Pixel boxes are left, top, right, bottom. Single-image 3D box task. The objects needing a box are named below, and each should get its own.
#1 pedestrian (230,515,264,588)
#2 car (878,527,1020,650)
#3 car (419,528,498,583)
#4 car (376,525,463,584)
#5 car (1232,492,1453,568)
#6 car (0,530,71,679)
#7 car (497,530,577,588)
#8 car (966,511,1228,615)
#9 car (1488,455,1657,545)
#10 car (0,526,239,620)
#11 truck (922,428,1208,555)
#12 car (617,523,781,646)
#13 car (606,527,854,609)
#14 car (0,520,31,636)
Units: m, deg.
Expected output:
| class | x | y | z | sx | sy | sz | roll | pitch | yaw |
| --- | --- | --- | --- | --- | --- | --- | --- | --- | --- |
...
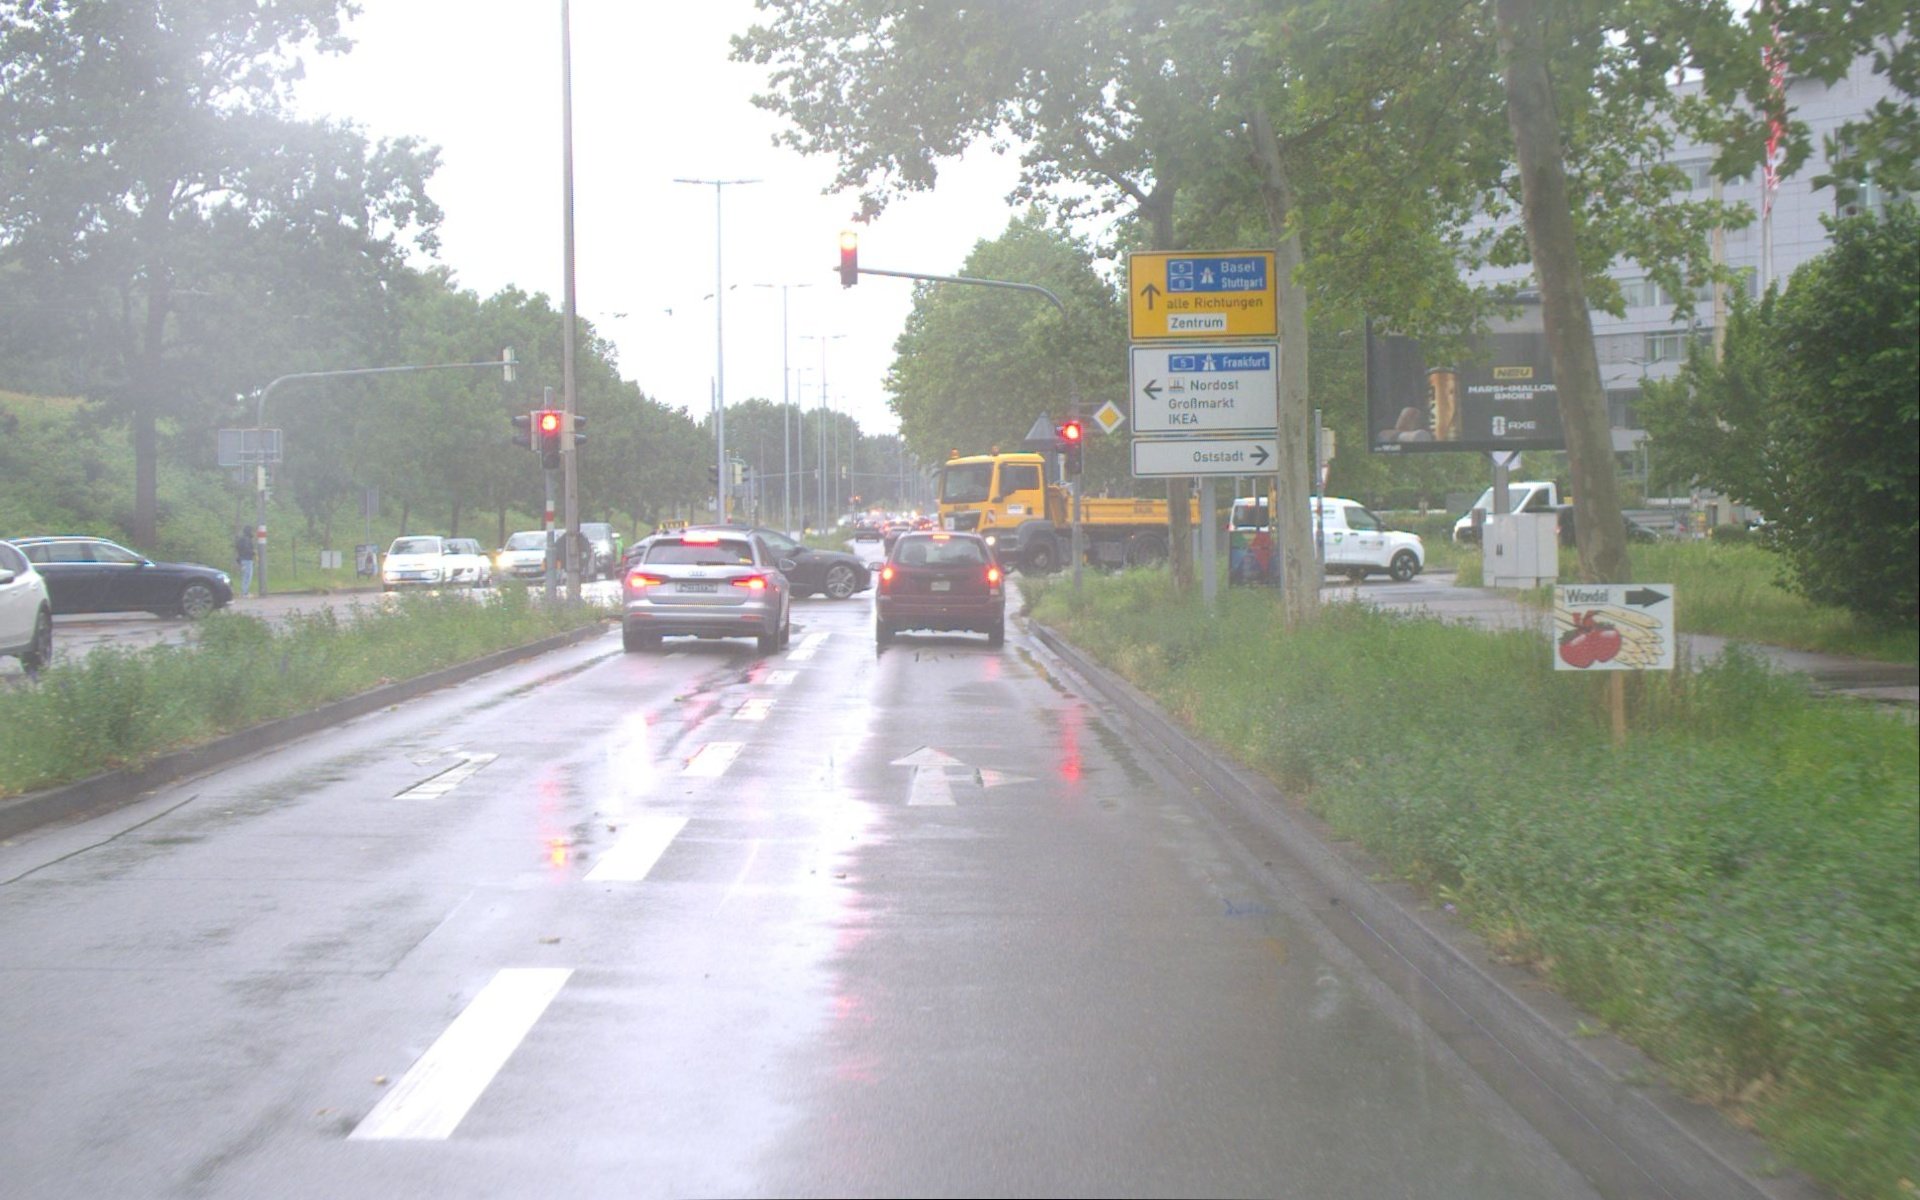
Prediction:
| class | x | y | z | sx | sy | sz | roll | pitch | yaw |
| --- | --- | --- | --- | --- | --- | --- | --- | --- | --- |
| pedestrian | -17.391 | -1.177 | 83.886 | 0.533 | 1.779 | 0.673 | 1 | 0 | 17 |
| car | -0.153 | -0.184 | 46.159 | 1.796 | 1.532 | 4.387 | 1 | 1 | 0 |
| car | -14.507 | -1.298 | 99.573 | 1.712 | 1.525 | 4.000 | -1 | 1 | 0 |
| car | -14.596 | -1.243 | 93.035 | 1.712 | 1.525 | 4.000 | -1 | 1 | 0 |
| car | 8.074 | -1.485 | 72.438 | 4.372 | 1.532 | 1.802 | -1 | 1 | -29 |
| car | -11.132 | 0.052 | 37.174 | 1.856 | 1.583 | 4.519 | -1 | 1 | 0 |
| car | -11.572 | -1.130 | 94.241 | 1.712 | 1.525 | 4.000 | -1 | 1 | 0 |
| car | 2.373 | -0.661 | 58.803 | 4.375 | 1.531 | 1.801 | -4 | 4 | -40 |
| car | 16.360 | -2.680 | 91.740 | 4.374 | 2.183 | 1.802 | -4 | 3 | -35 |
| car | -14.848 | -0.481 | 59.274 | 4.372 | 1.532 | 1.802 | -1 | 1 | -29 |
| truck | 2.682 | -2.707 | 86.231 | 7.027 | 3.043 | 2.647 | -2 | 1 | -37 |
| car | -3.155 | -0.221 | 42.208 | 1.690 | 1.428 | 4.574 | 0 | 1 | 0 |
| car | -4.389 | -0.634 | 65.631 | 4.372 | 1.532 | 1.802 | -1 | 1 | -29 |
| car | -15.269 | -0.275 | 47.239 | 4.507 | 1.583 | 1.861 | -1 | 1 | 16 |
